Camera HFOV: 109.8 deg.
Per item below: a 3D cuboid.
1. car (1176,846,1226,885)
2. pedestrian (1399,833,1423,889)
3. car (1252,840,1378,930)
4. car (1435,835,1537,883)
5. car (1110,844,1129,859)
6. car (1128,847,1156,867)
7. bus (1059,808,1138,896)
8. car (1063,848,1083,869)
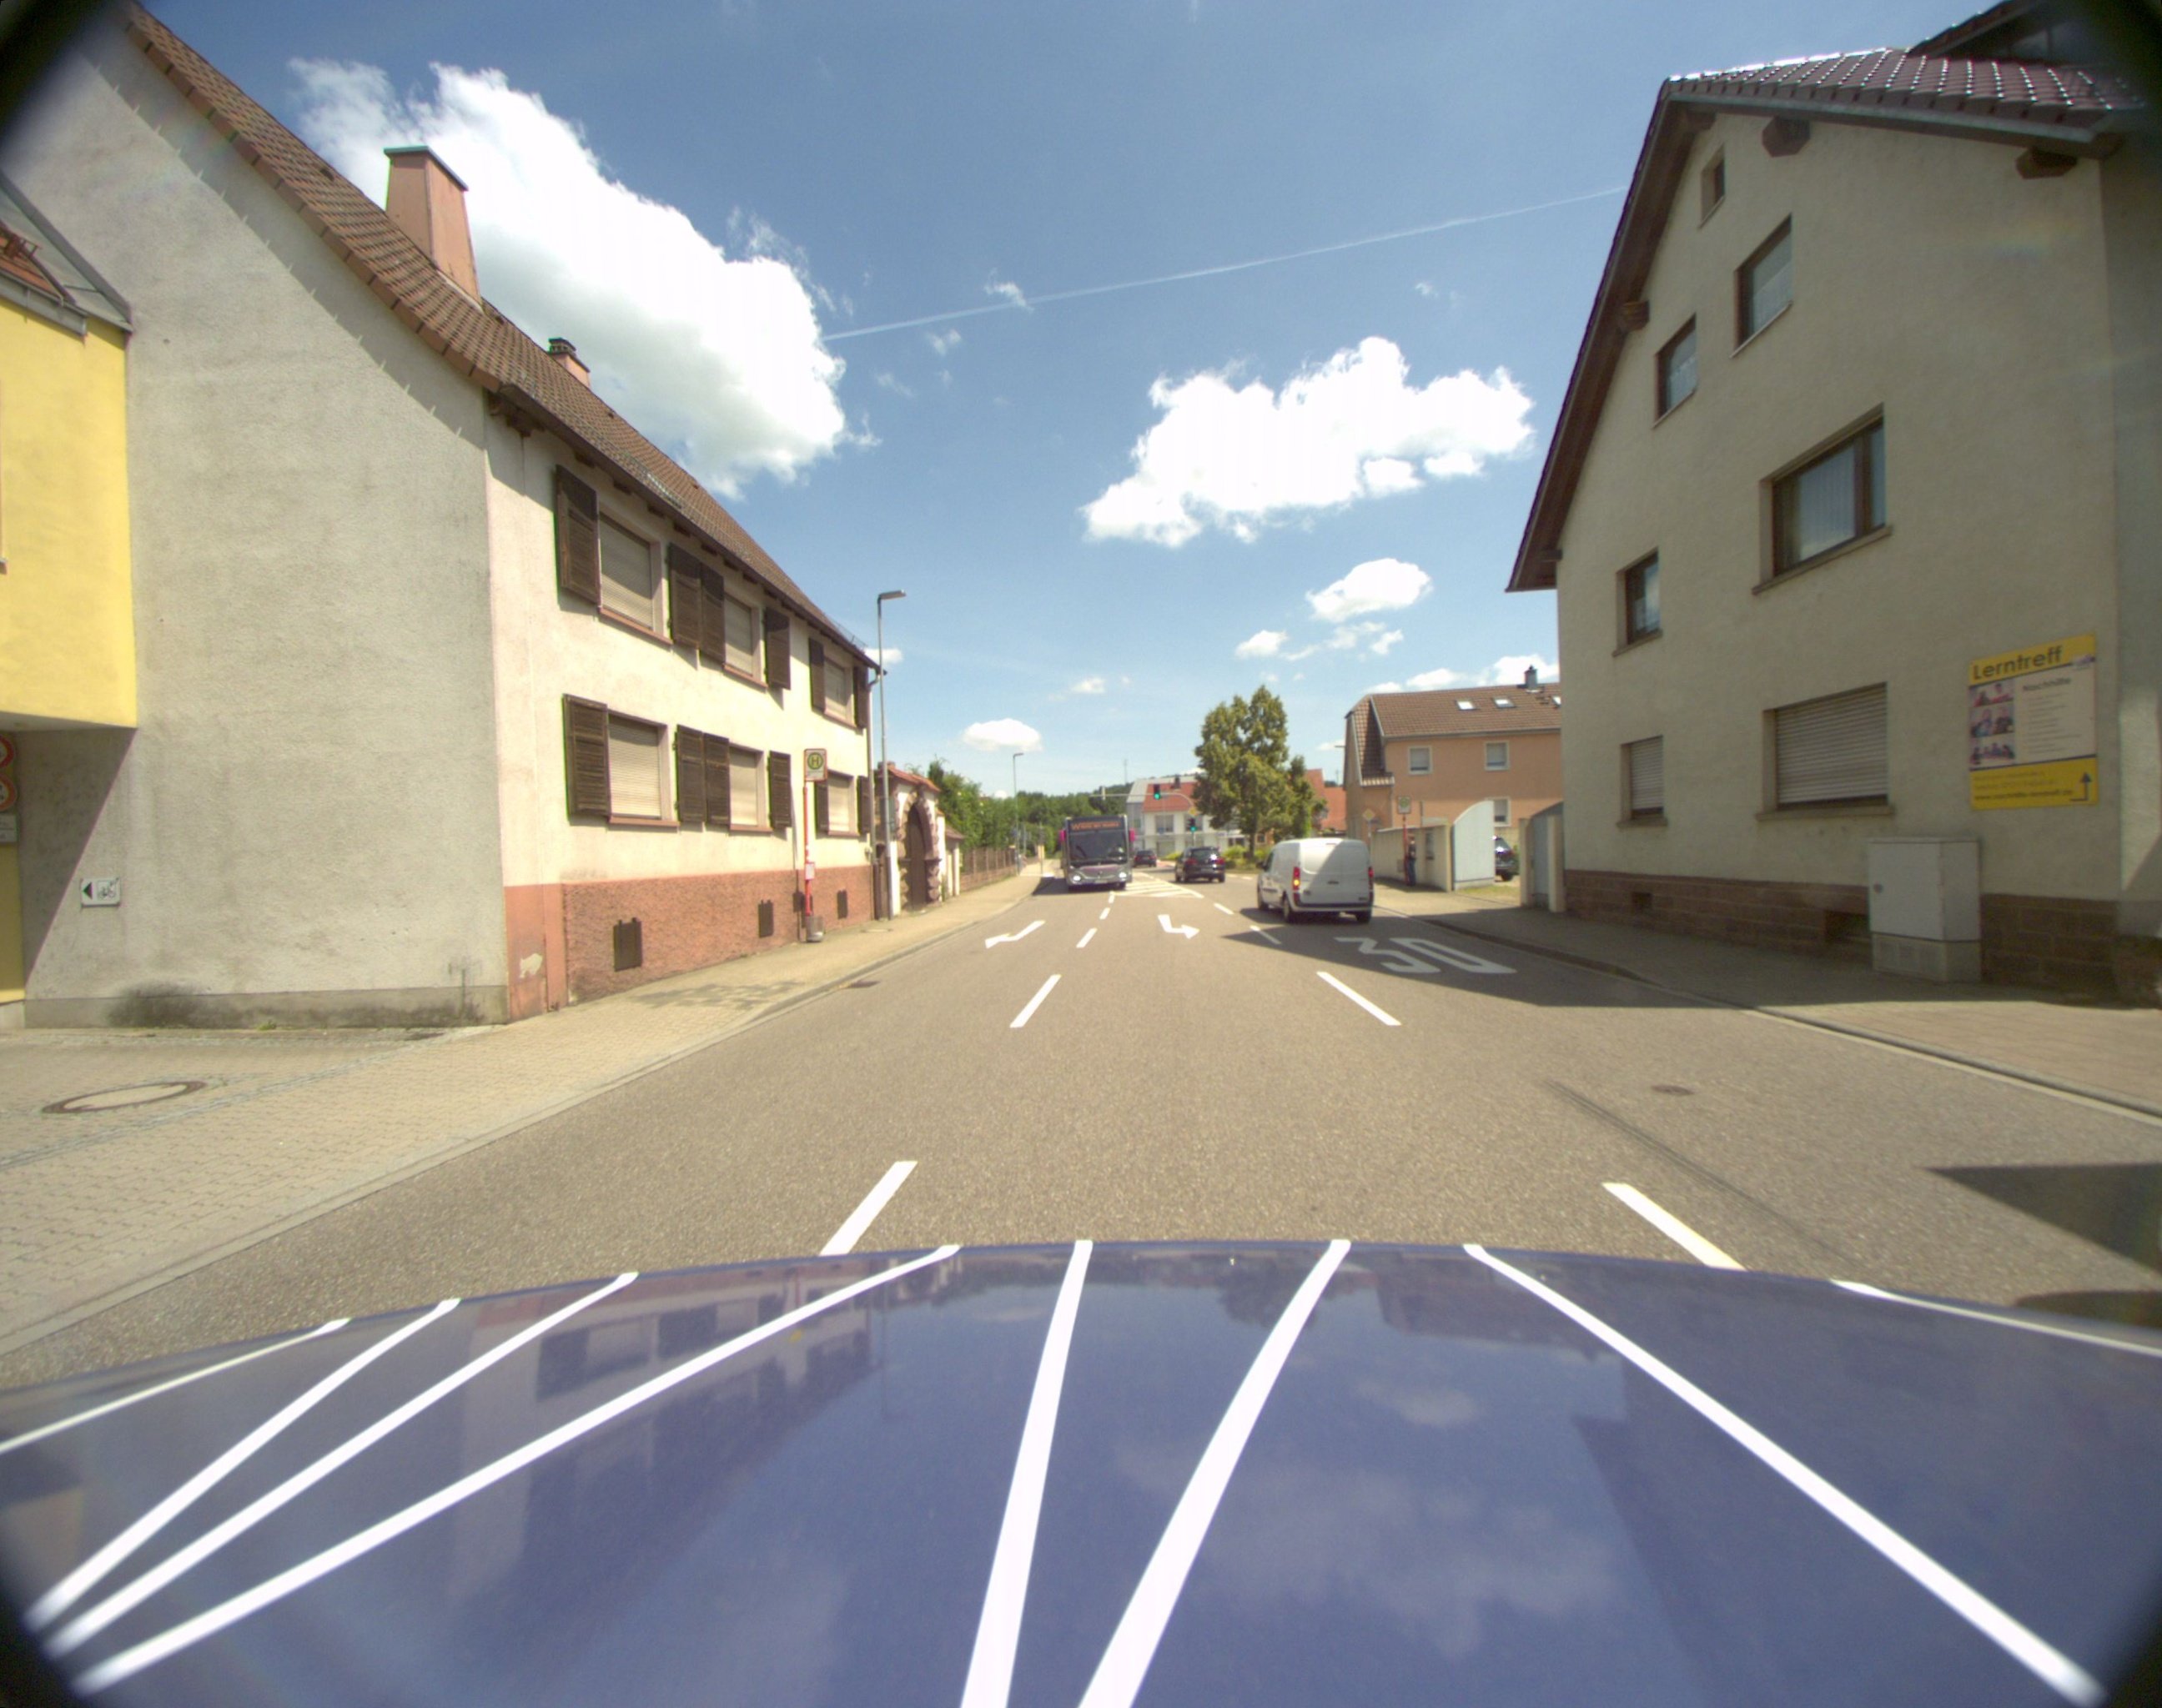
[{"bbox_3d":[5.397,0.480,34.638,1.752,1.602,4.000,-2,1,2],"label":"car"},{"bbox_3d":[10.571,0.230,24.309,0.471,1.754,0.478,-2,1,-15],"label":"pedestrian"},{"bbox_3d":[5.260,0.595,17.693,1.786,1.819,4.601,-1,1,4],"label":"car"},{"bbox_3d":[14.910,0.150,28.242,1.752,1.602,4.000,-2,1,2],"label":"car"},{"bbox_3d":[4.129,-0.271,82.439,1.785,1.448,4.530,-2,1,-1],"label":"car"},{"bbox_3d":[4.808,0.223,60.304,1.785,1.448,4.530,-2,1,-1],"label":"car"},{"bbox_3d":[0.649,-0.158,37.825,2.859,3.186,19.029,-2,1,0],"label":"bus"},{"bbox_3d":[-0.736,0.364,69.222,1.787,1.819,4.351,-1,1,0],"label":"car"}]
